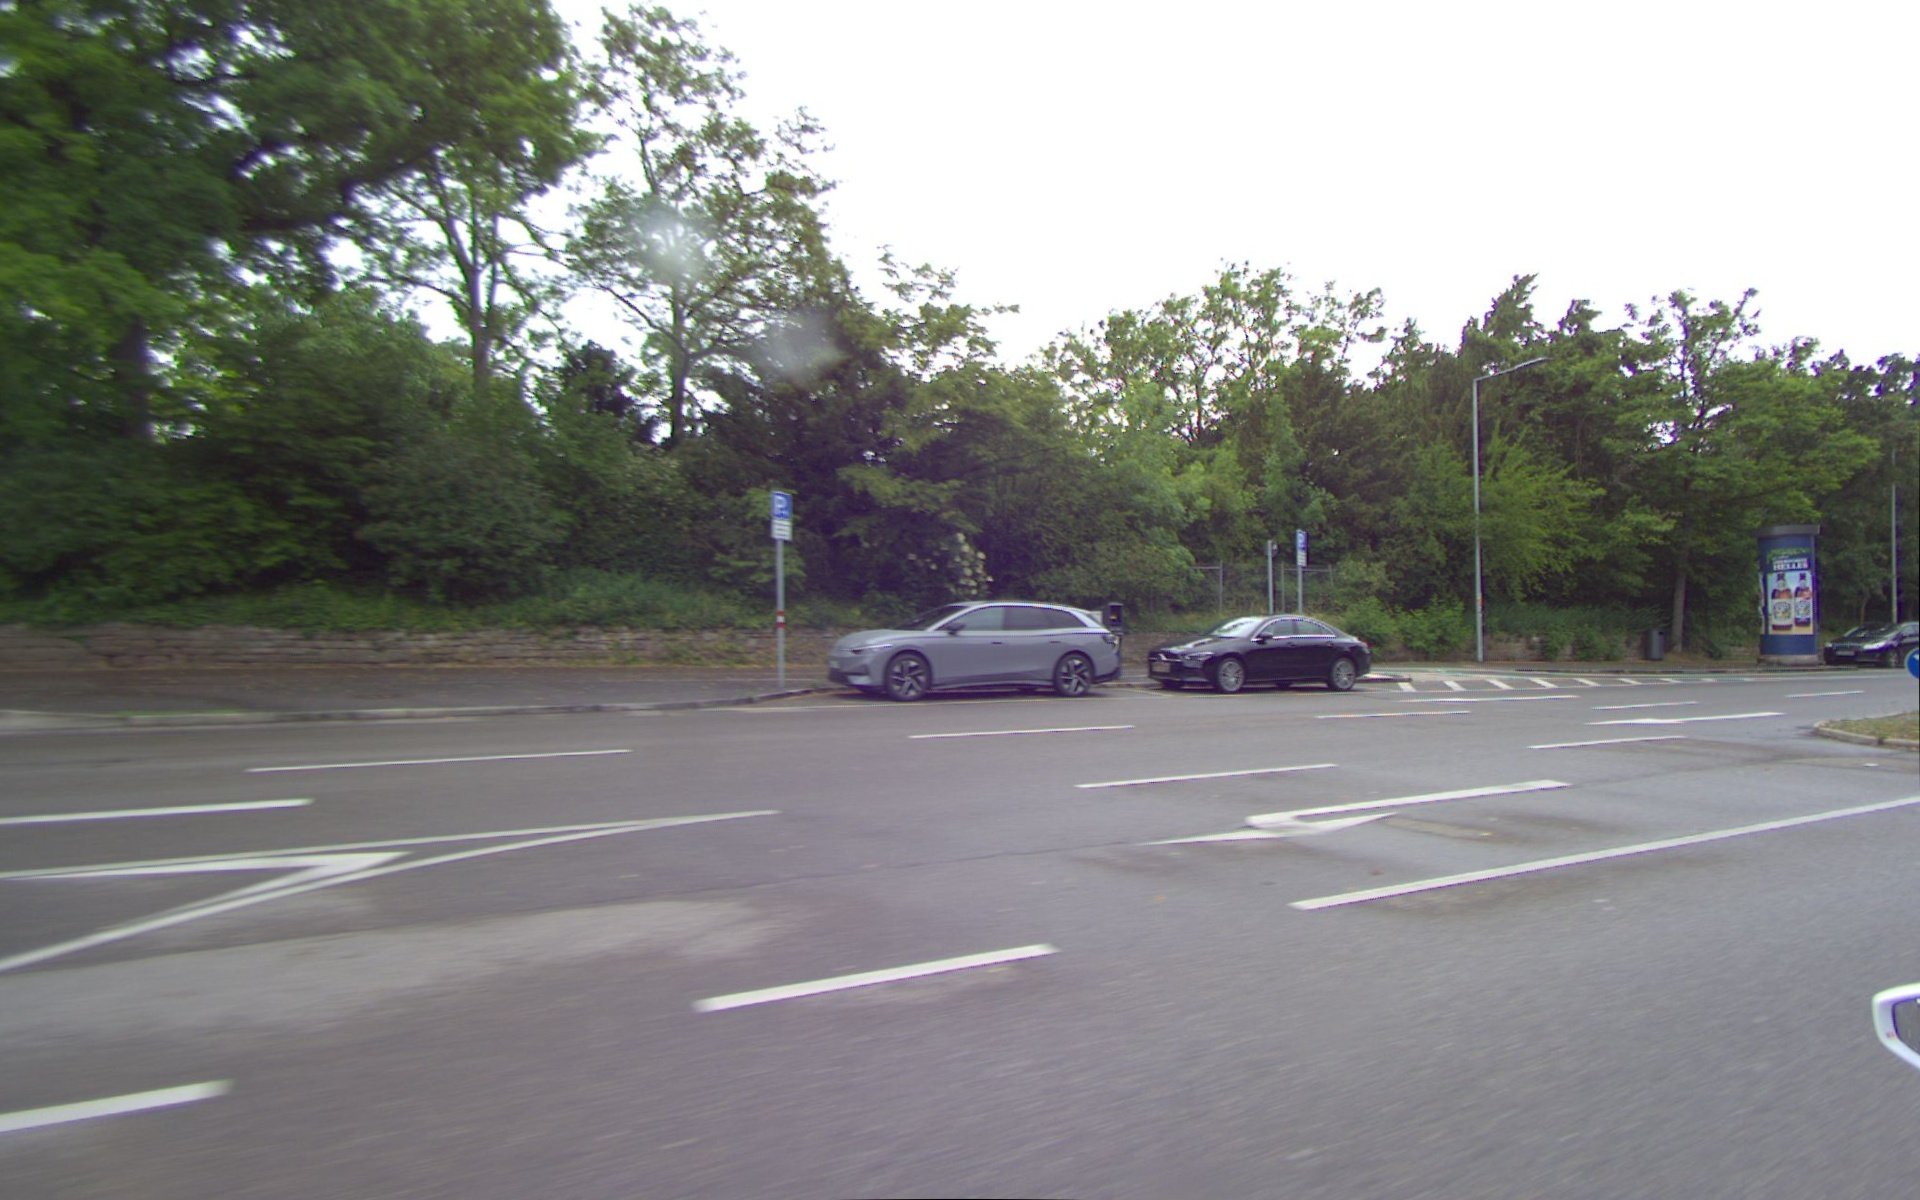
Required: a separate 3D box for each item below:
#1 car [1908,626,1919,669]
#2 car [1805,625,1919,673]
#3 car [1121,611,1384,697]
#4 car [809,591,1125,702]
[{"bbox_3d":[35.578,1.681,35.301,4.643,1.479,1.713,1,-1,-25],"label":"car"},{"bbox_3d":[30.208,1.583,33.081,4.520,1.464,1.745,1,0,-23],"label":"car"},{"bbox_3d":[5.562,1.012,19.029,4.719,1.433,1.900,2,0,-26],"label":"car"},{"bbox_3d":[0.152,0.763,16.510,4.863,1.610,1.835,2,0,-26],"label":"car"}]
